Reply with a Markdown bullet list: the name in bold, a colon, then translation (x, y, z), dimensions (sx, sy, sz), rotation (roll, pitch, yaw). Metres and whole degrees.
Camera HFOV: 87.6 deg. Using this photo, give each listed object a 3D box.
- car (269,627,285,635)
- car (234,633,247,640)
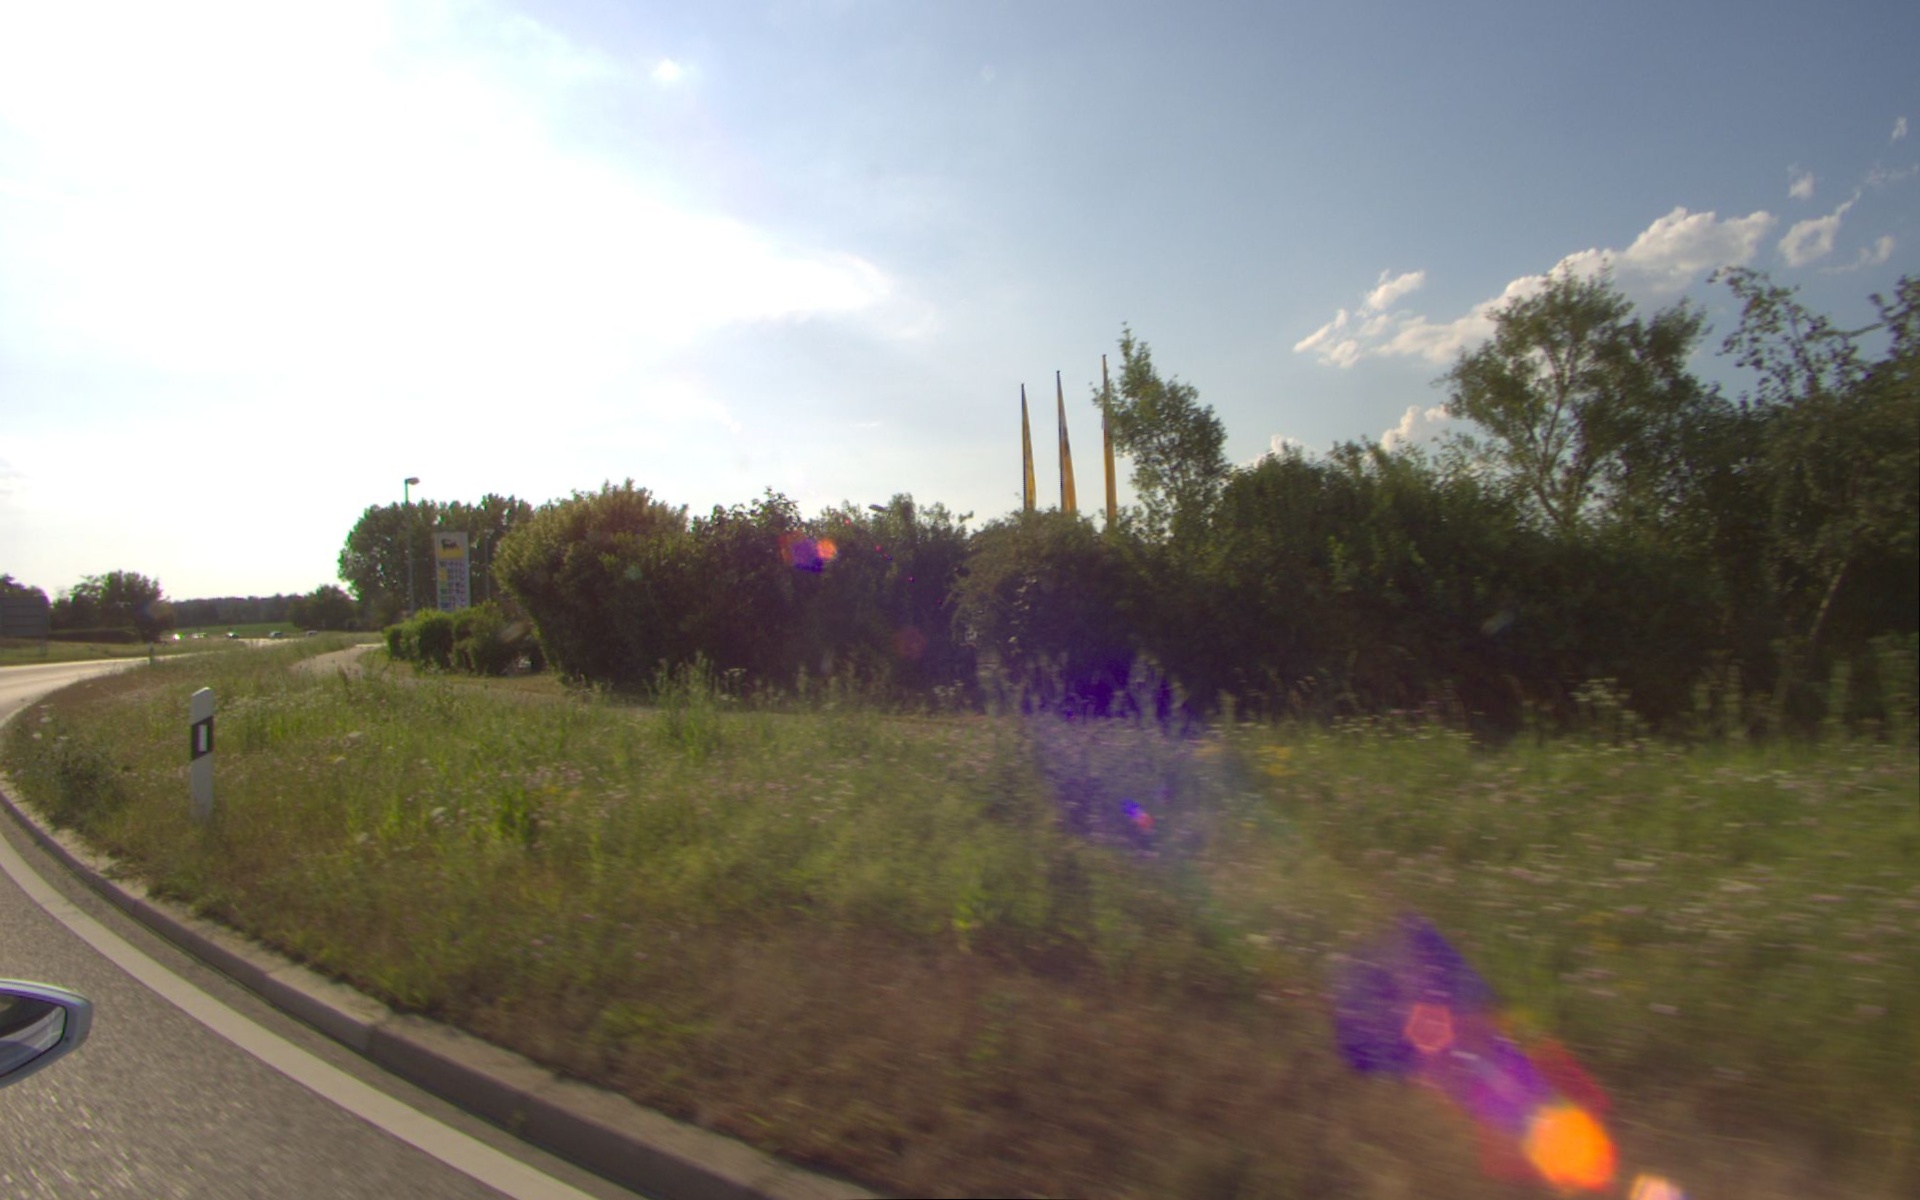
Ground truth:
- **car**: translation (-126.810, 5.826, 185.965), dimensions (1.839, 1.425, 3.610), rotation (2, -4, -43)
- **car**: translation (-152.770, 7.768, 212.618), dimensions (1.837, 1.425, 3.346), rotation (2, -4, -41)
